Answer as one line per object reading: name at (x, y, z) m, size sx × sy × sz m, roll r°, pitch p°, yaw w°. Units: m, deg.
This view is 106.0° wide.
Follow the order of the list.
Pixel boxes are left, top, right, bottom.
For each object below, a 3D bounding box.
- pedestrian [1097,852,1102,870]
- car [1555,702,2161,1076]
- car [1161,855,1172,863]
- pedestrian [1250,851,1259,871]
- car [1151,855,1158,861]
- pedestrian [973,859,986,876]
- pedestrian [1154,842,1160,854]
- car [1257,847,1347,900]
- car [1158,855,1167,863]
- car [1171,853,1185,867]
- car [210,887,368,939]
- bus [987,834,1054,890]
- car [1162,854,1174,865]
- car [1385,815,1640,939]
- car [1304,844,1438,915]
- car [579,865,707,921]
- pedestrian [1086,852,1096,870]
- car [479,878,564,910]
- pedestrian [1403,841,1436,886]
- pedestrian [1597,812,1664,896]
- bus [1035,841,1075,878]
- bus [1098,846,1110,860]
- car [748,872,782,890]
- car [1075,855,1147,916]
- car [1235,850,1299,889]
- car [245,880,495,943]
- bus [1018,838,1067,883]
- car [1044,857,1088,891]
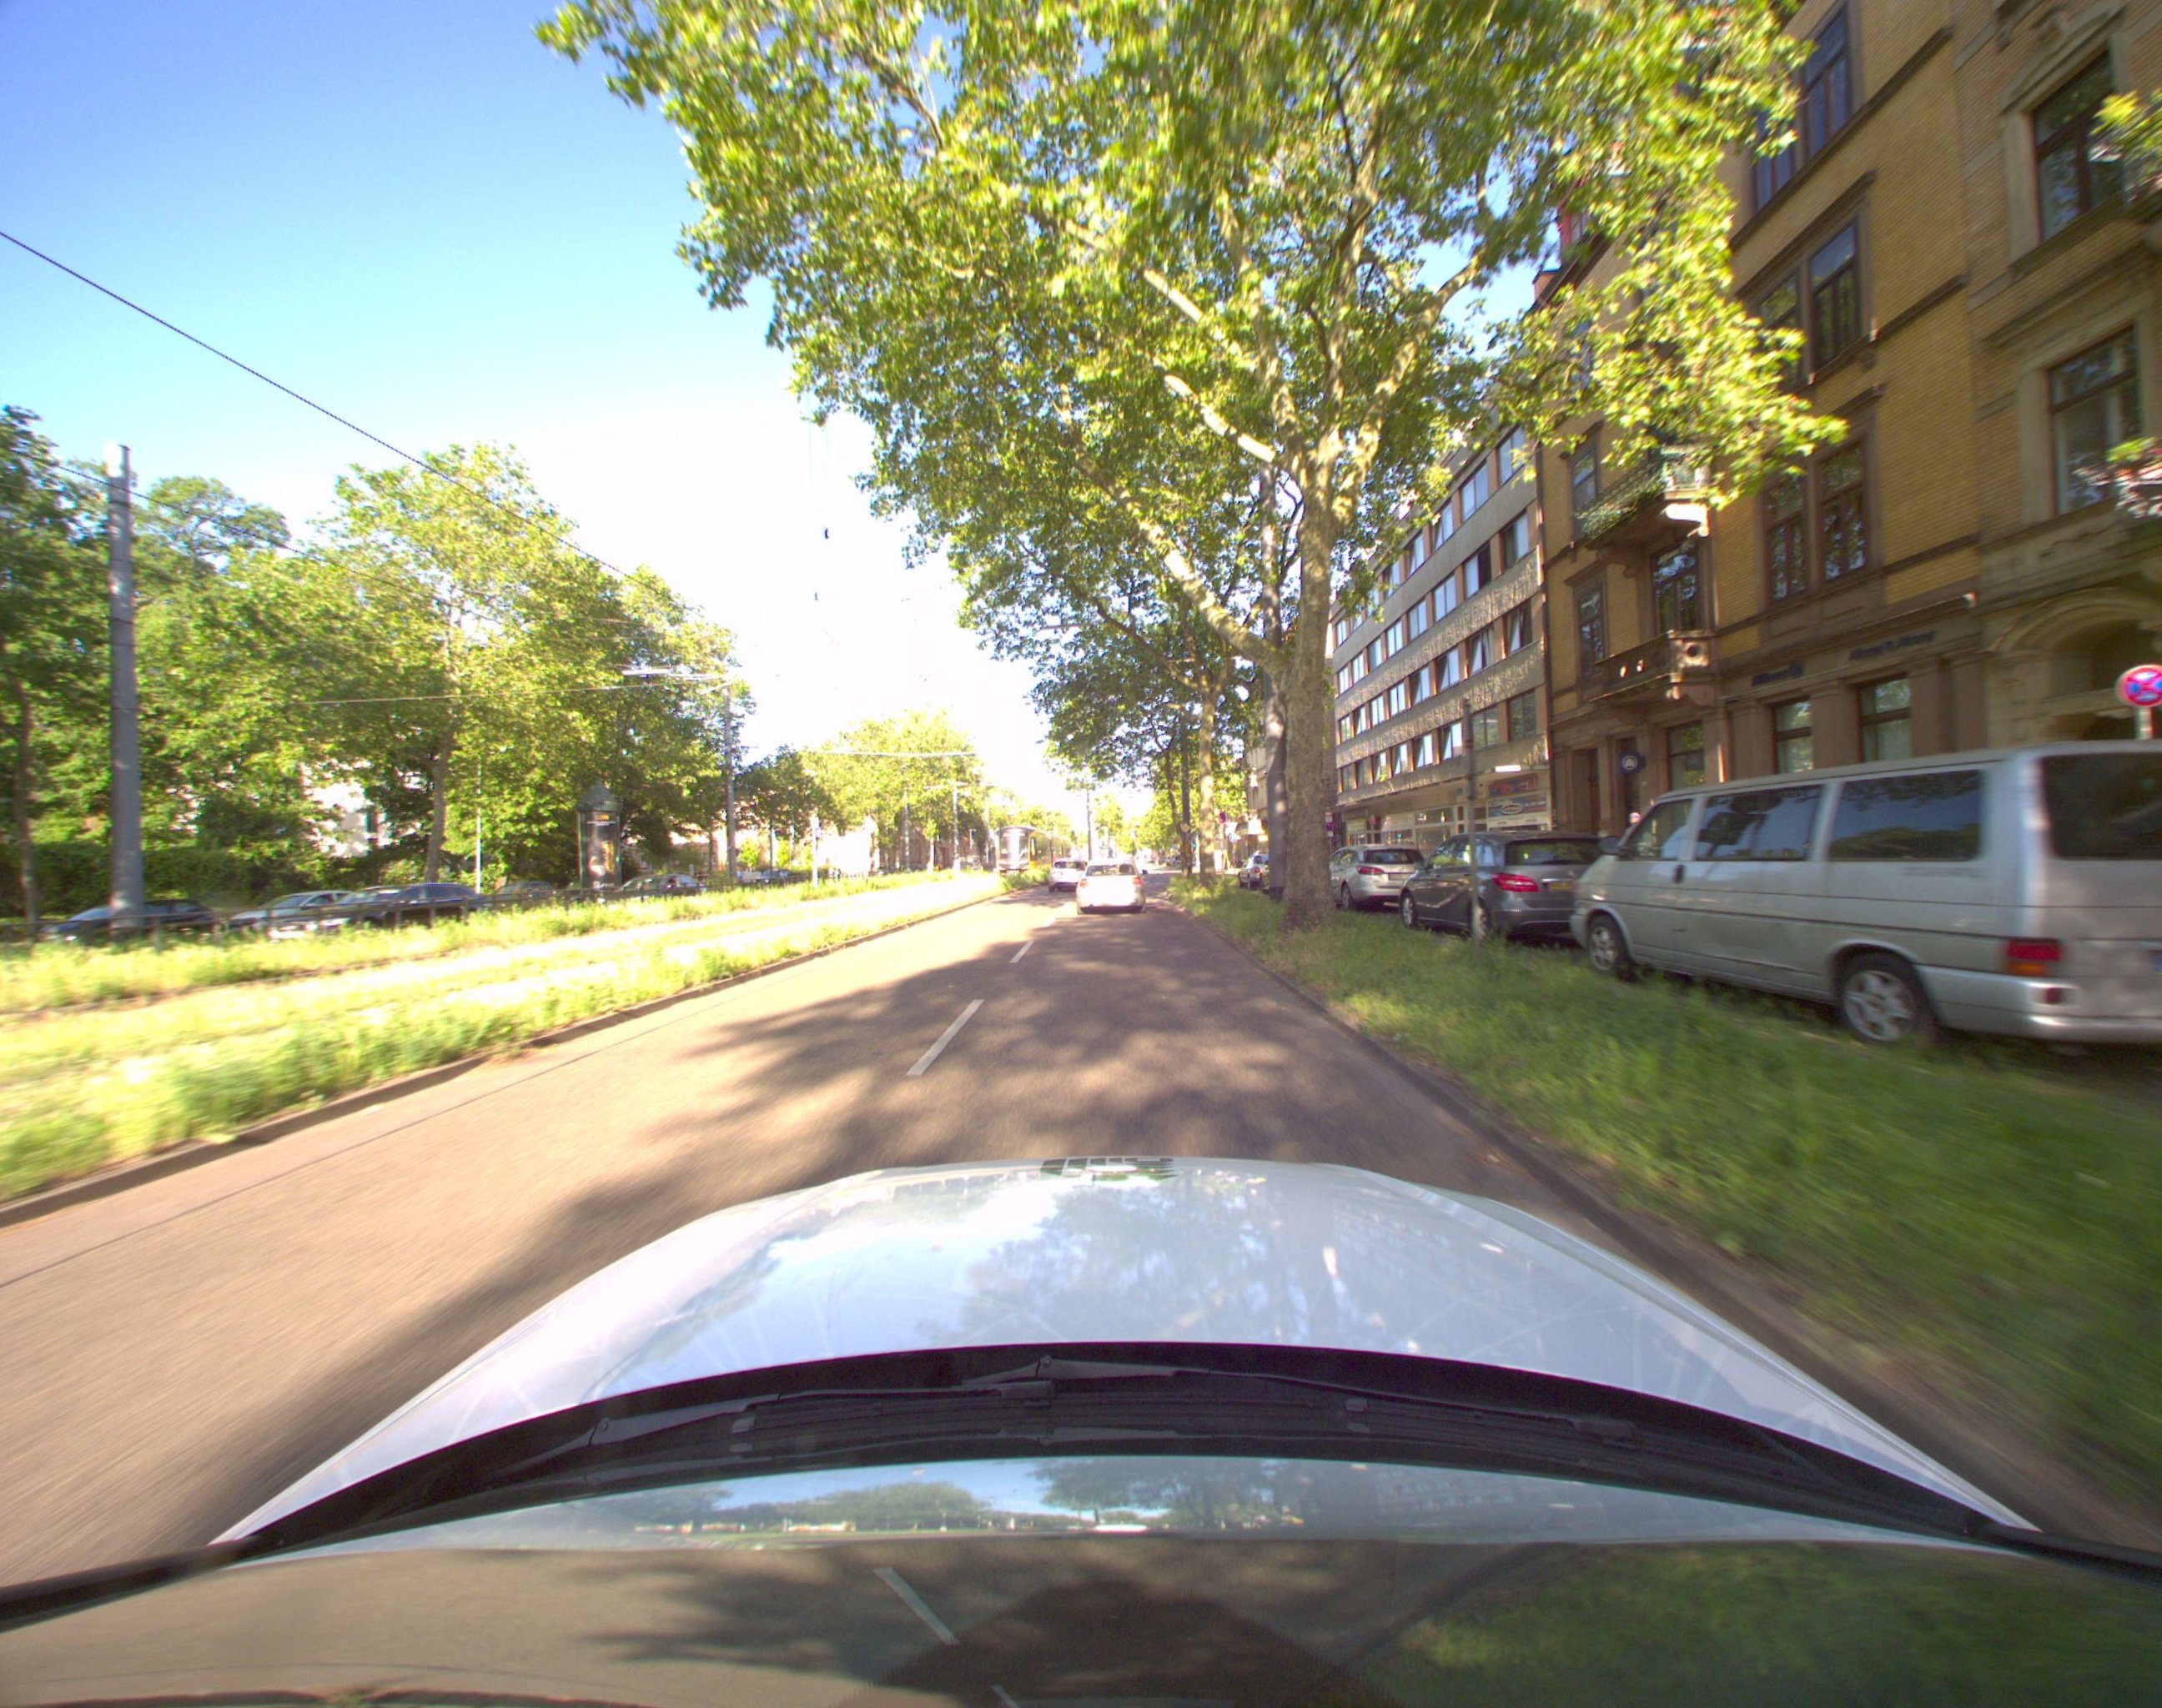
pedestrian at (1.952, 0.771, 87.472) m, size 0.450 × 1.903 × 0.584 m, roll -2°, pitch -1°, yaw -4°
car at (5.862, 0.139, 6.319) m, size 1.856 × 1.815 × 4.805 m, roll 0°, pitch 1°, yaw 4°
car at (16.970, 1.039, 161.453) m, size 1.985 × 1.509 × 4.601 m, roll 0°, pitch 0°, yaw 3°
pedestrian at (15.266, 0.615, 71.724) m, size 0.463 × 1.810 × 0.779 m, roll 0°, pitch 1°, yaw 34°
car at (18.866, 1.005, 208.632) m, size 1.693 × 1.534 × 3.720 m, roll 0°, pitch 1°, yaw 4°
pedestrian at (-10.035, 1.364, 80.590) m, size 1.174 × 1.643 × 0.891 m, roll -2°, pitch -1°, yaw -4°
pedestrian at (12.926, -1.024, 138.681) m, size 0.833 × 2.013 × 0.650 m, roll 0°, pitch 0°, yaw 10°
car at (6.705, 0.544, 25.221) m, size 1.798 × 1.490 × 4.925 m, roll 0°, pitch 0°, yaw 4°
car at (16.591, 1.049, 166.670) m, size 1.662 × 1.551 × 4.004 m, roll 0°, pitch 1°, yaw 3°
car at (14.221, 0.855, 119.795) m, size 1.747 × 1.964 × 4.741 m, roll -1°, pitch 0°, yaw 3°
car at (-25.503, 1.855, 26.401) m, size 1.561 × 1.312 × 3.507 m, roll 0°, pitch 2°, yaw 3°
bus at (-4.013, 0.519, 57.734) m, size 2.857 × 3.444 × 13.228 m, roll -2°, pitch 0°, yaw 3°
car at (14.430, 0.959, 135.246) m, size 1.685 × 1.658 × 4.043 m, roll -2°, pitch 1°, yaw 3°
car at (6.047, 0.266, 12.071) m, size 1.697 × 1.502 × 4.362 m, roll 0°, pitch 0°, yaw 3°
car at (6.642, 0.527, 19.222) m, size 1.671 × 1.466 × 4.672 m, roll 0°, pitch 0°, yaw 2°
car at (-14.084, 1.204, 26.497) m, size 1.786 × 1.552 × 4.051 m, roll 0°, pitch 1°, yaw 3°
pedestrian at (1.099, 0.803, 91.443) m, size 1.068 × 1.916 × 1.127 m, roll -2°, pitch 0°, yaw 1°
car at (-25.038, 1.754, 36.551) m, size 1.401 × 1.228 × 3.361 m, roll -2°, pitch 0°, yaw 2°
pedestrian at (13.258, 0.365, 31.914) m, size 0.995 × 1.760 × 0.716 m, roll 0°, pitch 0°, yaw 3°
pedestrian at (12.412, -0.003, 18.419) m, size 0.995 × 1.840 × 0.716 m, roll -2°, pitch -1°, yaw 4°
bus at (-2.529, 0.543, 82.422) m, size 2.857 × 3.444 × 11.621 m, roll -2°, pitch 0°, yaw 3°
bus at (6.424, -0.225, 224.419) m, size 2.738 × 3.625 × 18.865 m, roll -2°, pitch 0°, yaw 3°
car at (-23.607, 1.989, 60.928) m, size 1.395 × 1.200 × 2.846 m, roll -2°, pitch 0°, yaw 2°
car at (0.815, 0.787, 21.968) m, size 1.755 × 1.432 × 4.003 m, roll 0°, pitch 1°, yaw 2°
car at (7.309, 0.557, 32.415) m, size 1.694 × 1.424 × 4.520 m, roll 0°, pitch 1°, yaw 2°
car at (-16.916, 1.301, 19.776) m, size 1.682 × 1.135 × 4.712 m, roll 0°, pitch 1°, yaw 4°
bus at (-3.162, 0.523, 70.452) m, size 2.857 × 3.444 × 12.225 m, roll -2°, pitch 0°, yaw 3°
car at (-0.608, 0.852, 35.916) m, size 1.639 × 1.362 × 3.763 m, roll 0°, pitch 1°, yaw 3°
